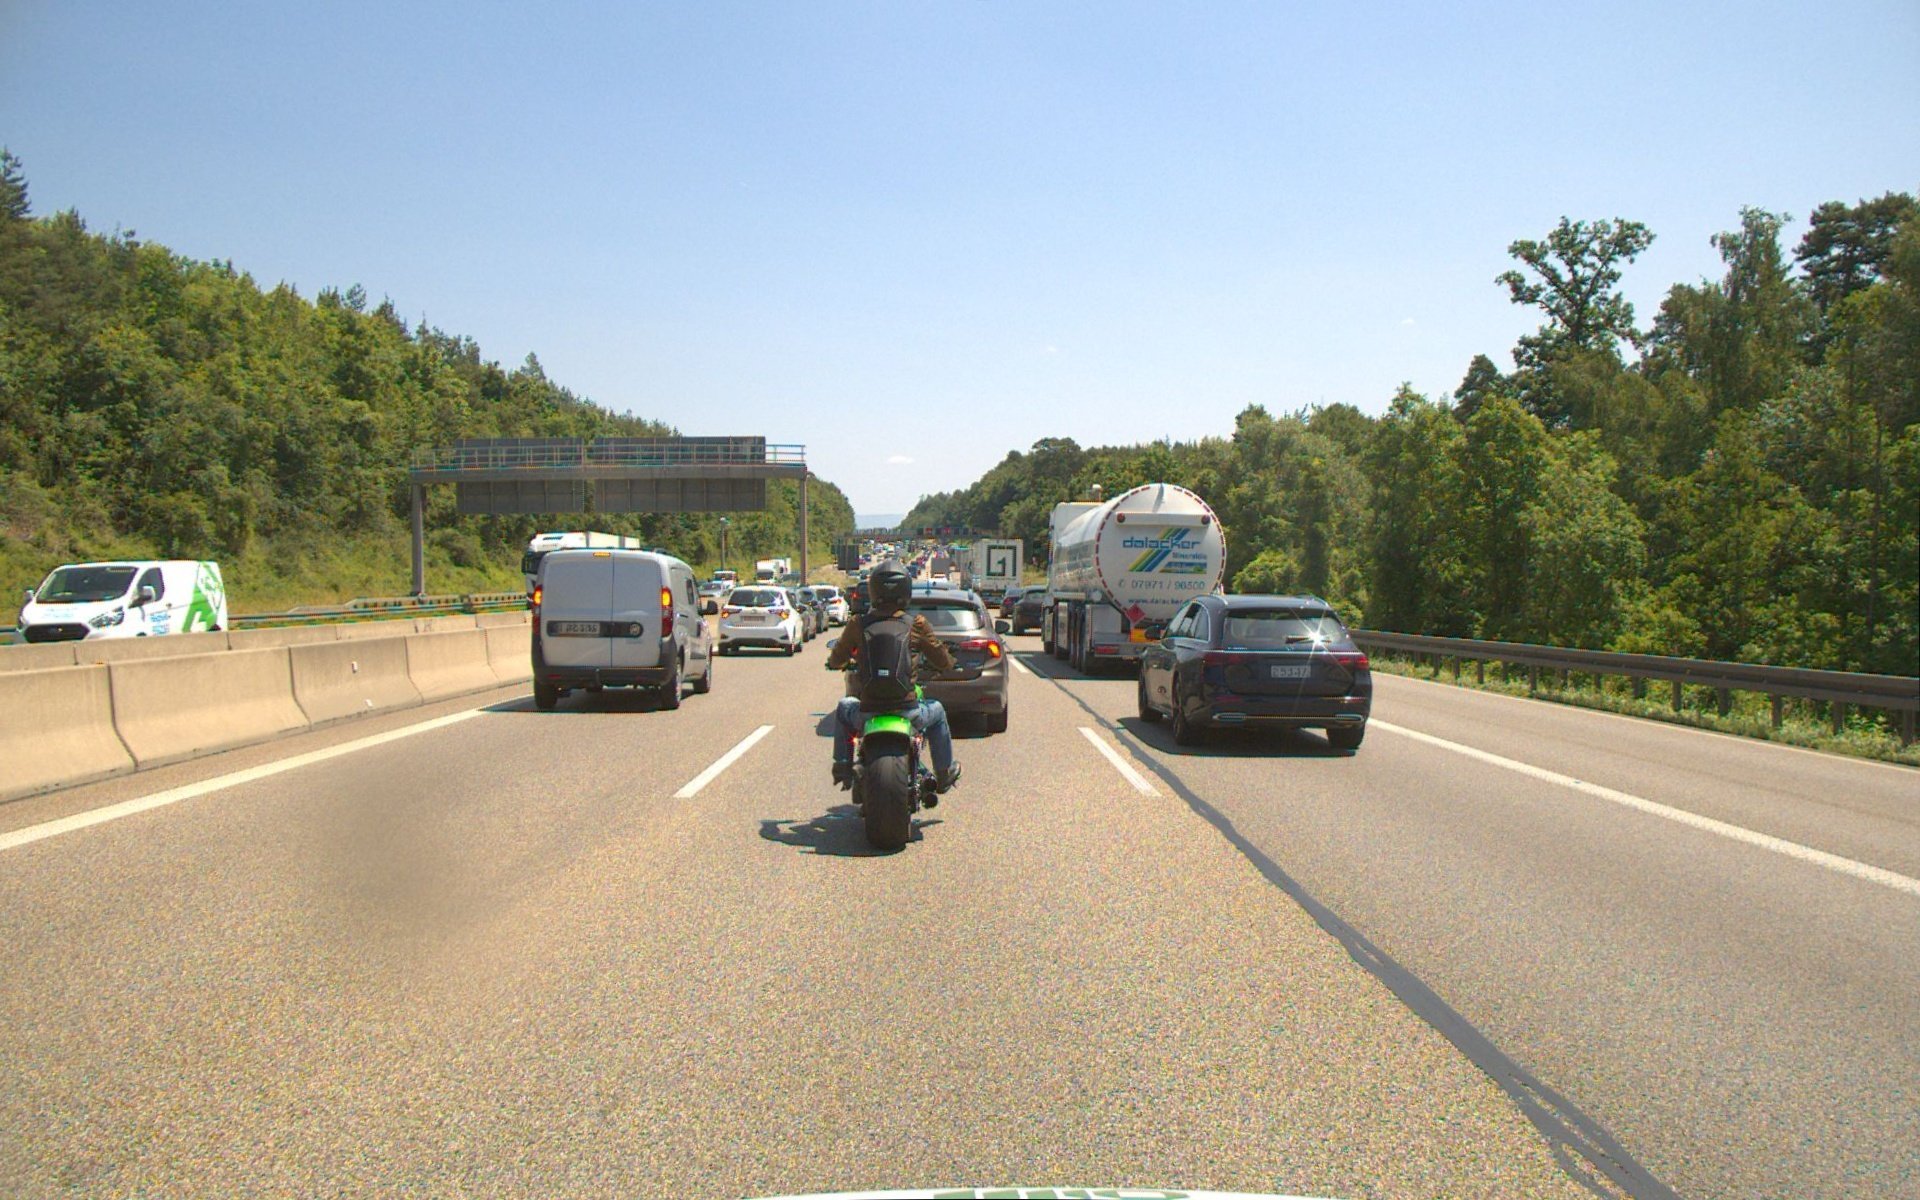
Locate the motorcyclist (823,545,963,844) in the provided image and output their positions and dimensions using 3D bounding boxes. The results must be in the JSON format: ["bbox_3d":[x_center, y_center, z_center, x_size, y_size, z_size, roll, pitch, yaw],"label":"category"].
[{"bbox_3d":[-0.394,0.548,10.074,0.782,1.717,1.016,1,-1,-1],"label":"motorcyclist"}]

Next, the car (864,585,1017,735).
[{"bbox_3d":[-0.217,0.586,18.576,1.509,1.475,3.999,1,0,-1],"label":"car"}]

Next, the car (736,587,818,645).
[{"bbox_3d":[-4.970,0.423,45.338,1.954,1.490,3.998,1,0,-3],"label":"car"}]

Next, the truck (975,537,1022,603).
[{"bbox_3d":[2.414,-1.775,101.863,2.794,3.888,7.189,1,-1,2],"label":"truck"}]

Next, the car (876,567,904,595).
[{"bbox_3d":[-5.244,-1.419,123.587,1.953,2.049,3.999,0,0,-1],"label":"car"}]

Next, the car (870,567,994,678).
[{"bbox_3d":[-0.496,0.368,28.351,1.953,1.741,3.998,1,-1,-2],"label":"car"}]

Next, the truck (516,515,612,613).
[{"bbox_3d":[-19.383,-1.651,81.445,2.889,4.560,7.517,1,-1,0],"label":"truck"}]

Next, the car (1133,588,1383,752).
[{"bbox_3d":[2.996,0.666,17.568,1.755,1.484,4.623,1,0,-1],"label":"car"}]

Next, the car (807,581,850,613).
[{"bbox_3d":[-6.234,-0.111,78.739,1.728,1.467,3.999,1,0,0],"label":"car"}]

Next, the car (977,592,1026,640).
[{"bbox_3d":[1.836,0.713,74.203,1.953,2.049,3.998,1,-1,-2],"label":"car"}]

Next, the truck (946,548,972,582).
[{"bbox_3d":[-0.151,-3.728,177.158,2.641,3.465,10.476,0,0,-1],"label":"truck"}]

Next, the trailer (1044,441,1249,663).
[{"bbox_3d":[3.445,-0.767,33.505,2.770,3.735,10.730,1,0,-1],"label":"trailer"}]

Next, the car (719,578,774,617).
[{"bbox_3d":[-8.562,-0.132,66.619,1.788,1.521,3.999,0,1,-2],"label":"car"}]

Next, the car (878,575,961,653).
[{"bbox_3d":[-1.006,0.346,41.148,1.953,1.806,3.998,1,-1,-2],"label":"car"}]

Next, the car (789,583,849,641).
[{"bbox_3d":[-5.199,0.434,61.471,1.953,2.049,3.999,1,-1,-1],"label":"car"}]

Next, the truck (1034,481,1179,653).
[{"bbox_3d":[3.365,-0.707,39.521,2.770,3.735,6.428,1,-1,-1],"label":"truck"}]

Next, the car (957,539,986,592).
[{"bbox_3d":[0.886,-2.713,132.980,2.123,3.961,9.328,1,-1,-1],"label":"car"}]

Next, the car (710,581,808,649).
[{"bbox_3d":[-4.447,0.334,37.168,1.740,1.435,3.999,1,0,-1],"label":"car"}]

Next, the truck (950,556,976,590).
[{"bbox_3d":[0.215,-1.815,112.016,1.558,2.148,3.752,1,-1,2],"label":"truck"}]

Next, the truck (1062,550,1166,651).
[{"bbox_3d":[4.885,-0.025,53.801,2.340,3.031,8.250,1,0,-2],"label":"truck"}]

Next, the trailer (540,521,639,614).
[{"bbox_3d":[-19.478,-1.587,87.613,2.889,4.560,10.814,1,-1,-1],"label":"trailer"}]

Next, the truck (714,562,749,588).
[{"bbox_3d":[-19.609,-2.158,142.066,2.304,2.049,6.489,1,0,-2],"label":"truck"}]

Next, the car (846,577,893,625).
[{"bbox_3d":[-4.051,0.063,74.548,1.953,2.049,3.999,1,-1,-1],"label":"car"}]

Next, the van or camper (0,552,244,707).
[{"bbox_3d":[-15.072,0.515,29.967,1.953,2.426,4.808,-4,-1,0],"label":"van or camper"}]

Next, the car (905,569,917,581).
[{"bbox_3d":[-7.024,-3.552,237.143,1.734,1.583,3.999,0,0,-1],"label":"car"}]

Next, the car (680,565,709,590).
[{"bbox_3d":[-23.477,-1.975,146.295,1.953,2.049,3.999,1,-1,-1],"label":"car"}]

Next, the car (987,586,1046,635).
[{"bbox_3d":[1.844,0.362,55.126,1.740,1.554,3.999,1,0,-1],"label":"car"}]

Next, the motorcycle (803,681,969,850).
[{"bbox_3d":[-0.426,0.981,10.391,0.917,0.807,2.298,1,0,-1],"label":"motorcycle"}]

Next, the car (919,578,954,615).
[{"bbox_3d":[-1.322,-0.213,93.296,1.953,2.049,3.999,0,0,-1],"label":"car"}]

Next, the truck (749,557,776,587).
[{"bbox_3d":[-20.770,-2.944,173.819,2.133,2.935,6.740,1,-1,-1],"label":"truck"}]

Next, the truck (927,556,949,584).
[{"bbox_3d":[-2.823,-3.758,211.256,2.641,3.465,10.476,0,0,-1],"label":"truck"}]

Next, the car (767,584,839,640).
[{"bbox_3d":[-5.035,0.402,53.652,1.953,1.713,4.329,1,0,-1],"label":"car"}]

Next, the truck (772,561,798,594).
[{"bbox_3d":[-23.218,-2.949,219.440,2.637,4.059,7.989,1,-1,-1],"label":"truck"}]

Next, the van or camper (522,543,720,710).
[{"bbox_3d":[-4.252,0.273,21.437,1.816,1.913,4.559,1,1,-3],"label":"van or camper"}]
